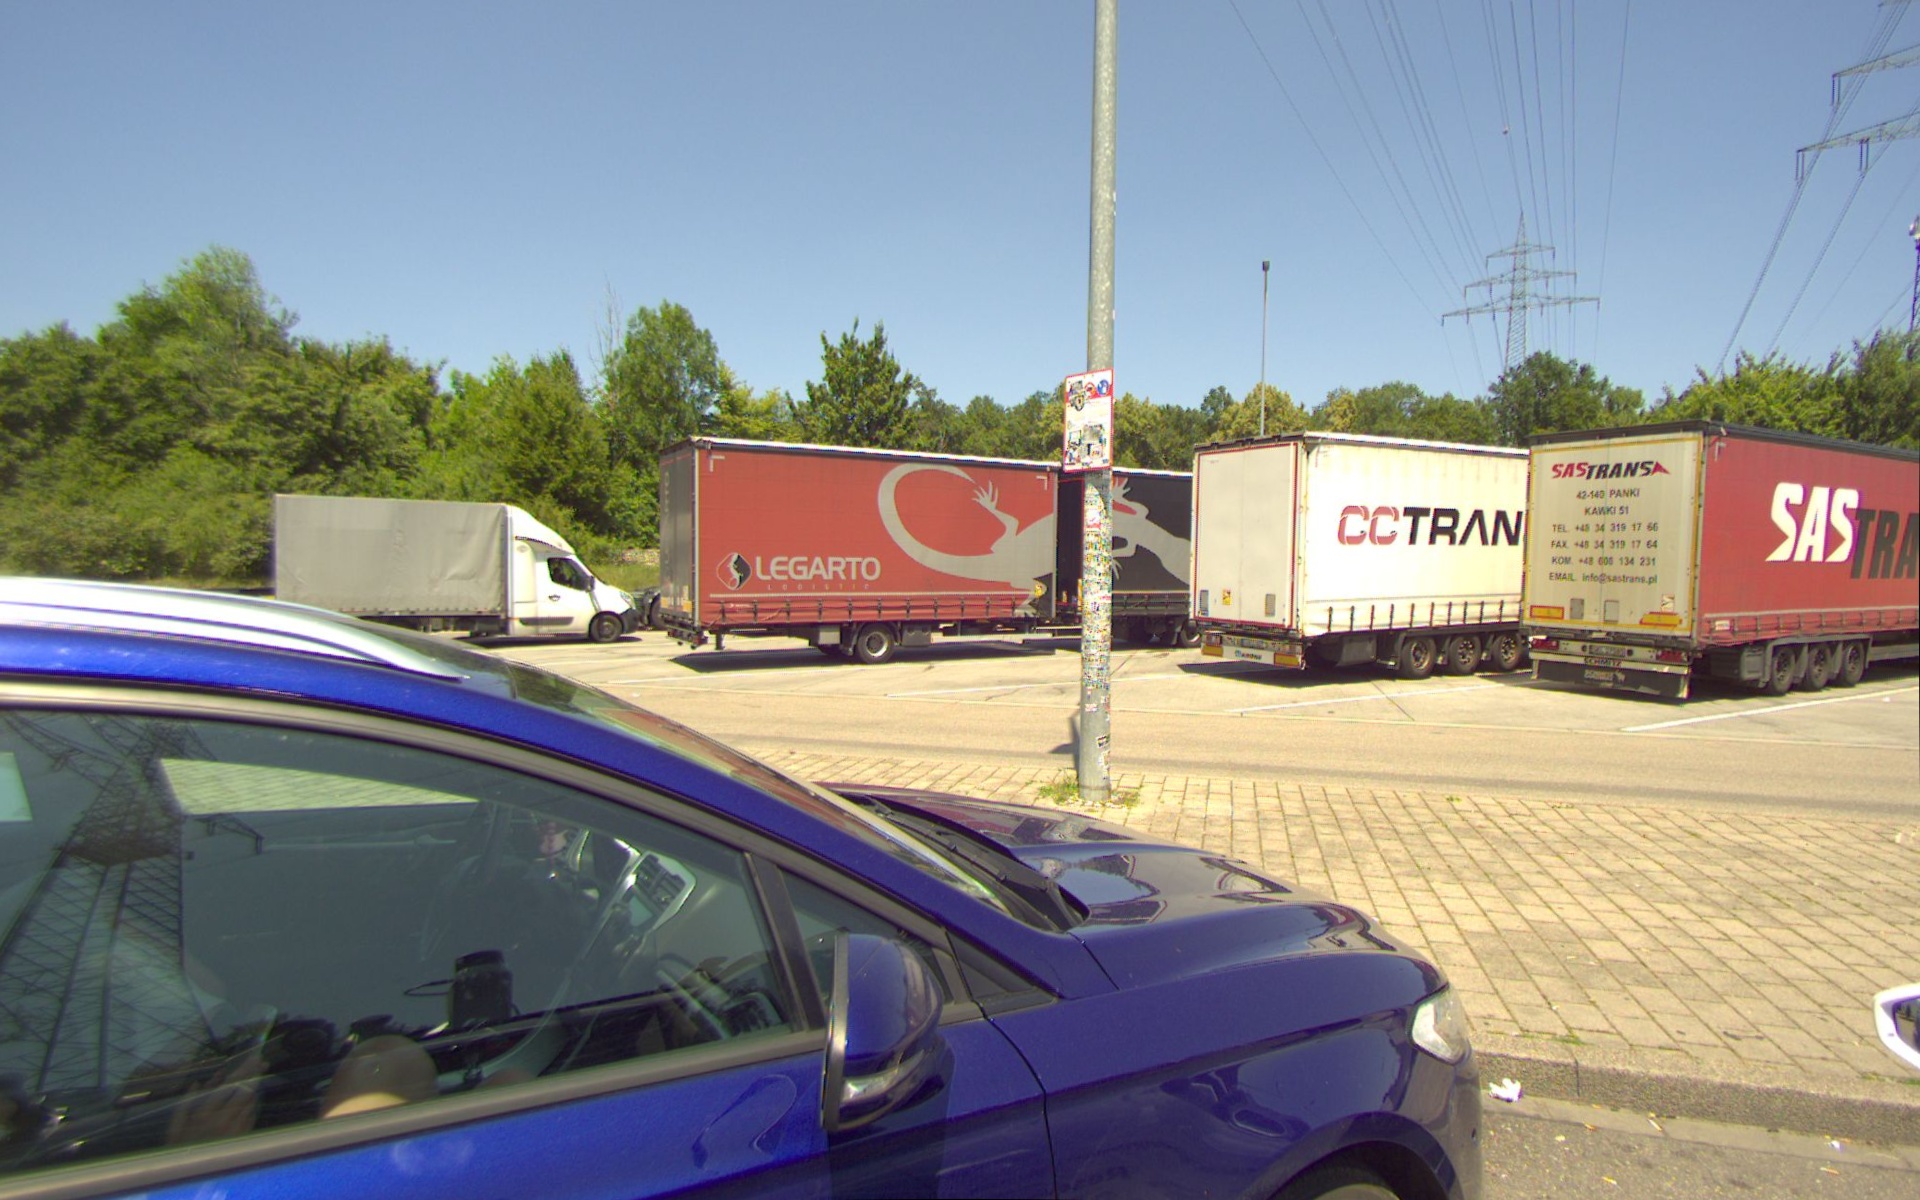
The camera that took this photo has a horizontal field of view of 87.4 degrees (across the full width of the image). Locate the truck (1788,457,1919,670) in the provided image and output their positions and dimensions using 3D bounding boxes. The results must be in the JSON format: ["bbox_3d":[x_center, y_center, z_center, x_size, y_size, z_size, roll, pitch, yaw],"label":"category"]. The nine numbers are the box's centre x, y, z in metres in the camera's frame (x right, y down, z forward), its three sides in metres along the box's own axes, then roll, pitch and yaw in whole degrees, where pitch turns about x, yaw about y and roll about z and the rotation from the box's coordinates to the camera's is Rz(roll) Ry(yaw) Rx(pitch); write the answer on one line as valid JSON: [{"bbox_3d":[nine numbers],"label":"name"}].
[{"bbox_3d":[21.121,-0.774,21.850,6.163,4.169,2.683,-1,3,-30],"label":"truck"}]

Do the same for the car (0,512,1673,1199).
[{"bbox_3d":[-1.011,0.668,1.454,4.380,1.464,1.771,0,0,-32],"label":"car"}]

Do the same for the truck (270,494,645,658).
[{"bbox_3d":[-11.136,-0.588,22.865,7.219,3.277,2.308,-2,3,-29],"label":"truck"}]

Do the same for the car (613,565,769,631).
[{"bbox_3d":[-7.625,-0.050,28.507,3.953,1.773,1.902,0,0,-30],"label":"car"}]

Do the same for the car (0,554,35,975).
[{"bbox_3d":[-4.637,0.554,2.106,3.700,1.432,1.595,0,0,-32],"label":"car"}]

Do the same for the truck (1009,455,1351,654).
[{"bbox_3d":[5.582,-1.080,24.816,8.683,4.248,2.800,-1,2,-30],"label":"truck"}]

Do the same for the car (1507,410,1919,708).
[{"bbox_3d":[15.195,-0.693,18.440,12.777,4.169,2.683,-1,3,-30],"label":"car"}]

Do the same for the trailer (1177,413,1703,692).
[{"bbox_3d":[10.089,-0.883,20.054,12.786,4.325,2.800,-1,2,-31],"label":"trailer"}]

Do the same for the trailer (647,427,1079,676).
[{"bbox_3d":[-1.765,-0.931,20.494,8.389,4.248,2.800,-1,2,-30],"label":"trailer"}]

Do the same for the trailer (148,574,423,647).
[{"bbox_3d":[-15.971,0.238,24.172,5.332,1.617,1.585,0,0,-30],"label":"trailer"}]
